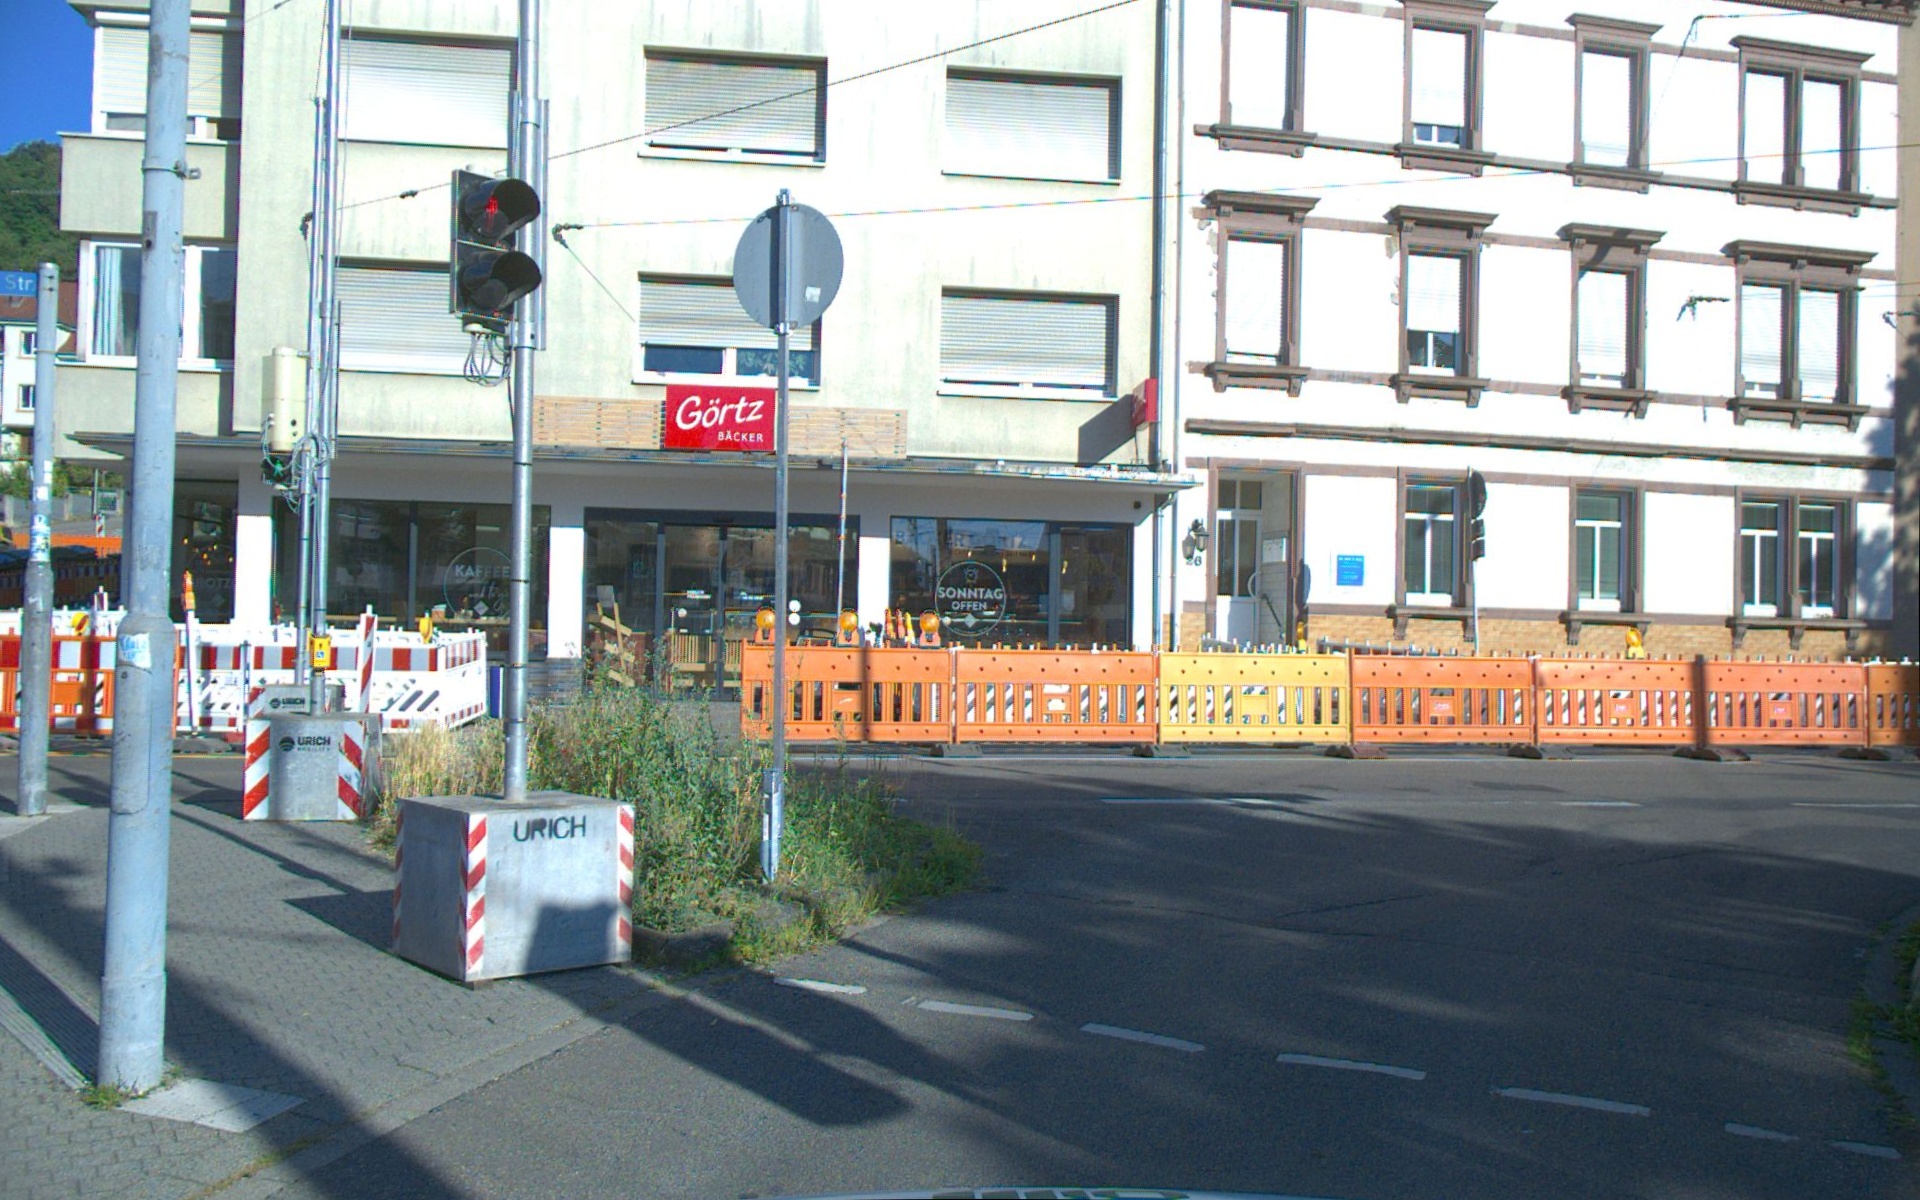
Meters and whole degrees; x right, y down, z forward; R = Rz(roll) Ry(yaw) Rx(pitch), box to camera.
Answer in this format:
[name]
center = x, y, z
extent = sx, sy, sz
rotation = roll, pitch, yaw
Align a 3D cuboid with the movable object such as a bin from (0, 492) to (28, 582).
[movable object such as a bin]
center = -28.301, -1.817, 46.127
extent = 1.908, 2.538, 4.552
rotation = 0, -1, 2
